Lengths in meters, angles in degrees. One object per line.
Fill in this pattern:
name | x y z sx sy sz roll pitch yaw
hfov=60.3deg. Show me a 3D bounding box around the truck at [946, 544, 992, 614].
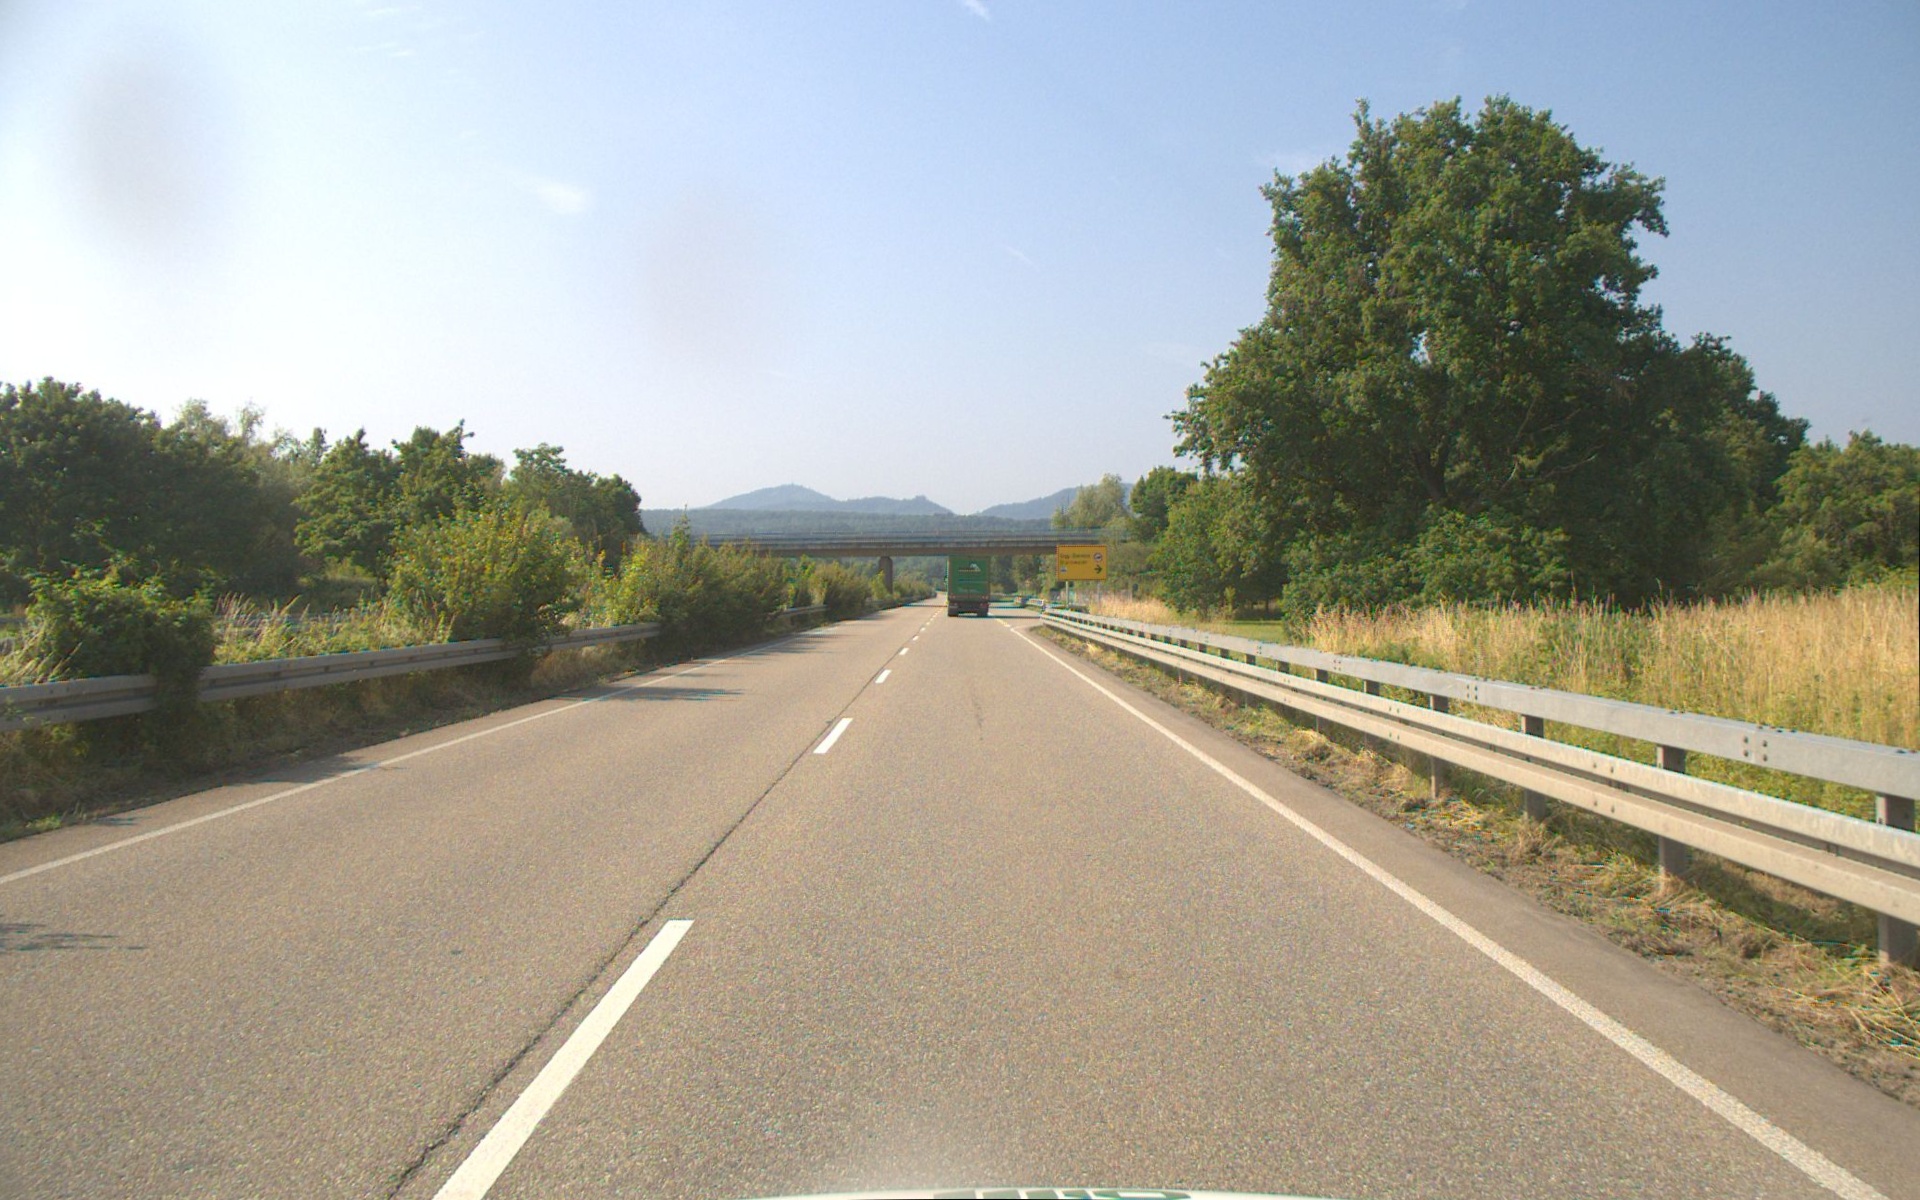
truck | 0.549 -1.378 102.176 2.666 4.034 10.417 1 2 0
